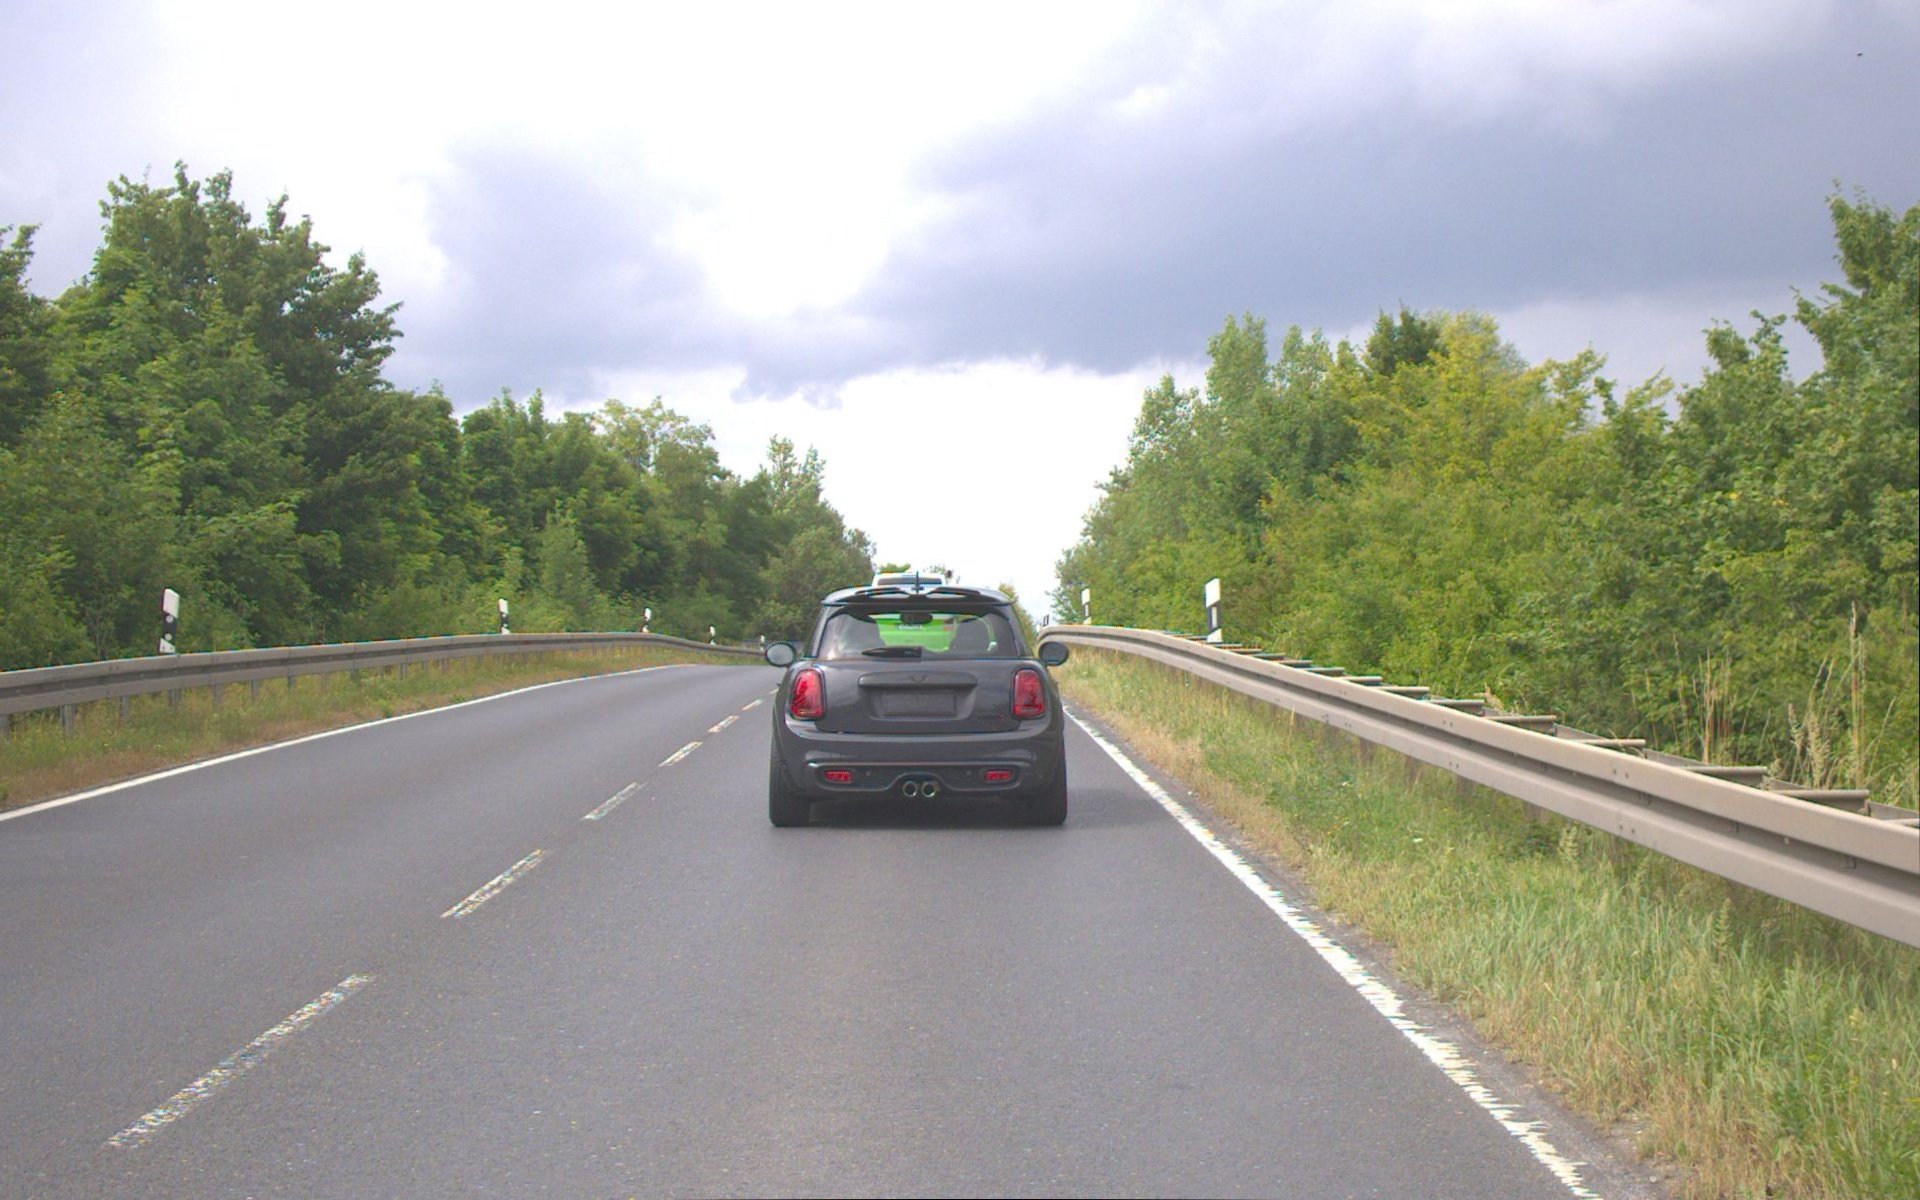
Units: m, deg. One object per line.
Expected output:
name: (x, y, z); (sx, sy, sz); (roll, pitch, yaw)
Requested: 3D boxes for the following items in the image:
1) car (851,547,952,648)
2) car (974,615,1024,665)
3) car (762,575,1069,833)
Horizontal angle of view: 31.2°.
car: (-1.196, -0.064, 71.714); (2.022, 2.006, 4.000); (-1, 0, 0)
car: (1.933, 1.942, 167.307); (1.994, 2.006, 4.000); (-7, 2, 4)
car: (-0.218, 0.576, 21.455); (1.732, 1.451, 4.000); (0, 1, 1)
